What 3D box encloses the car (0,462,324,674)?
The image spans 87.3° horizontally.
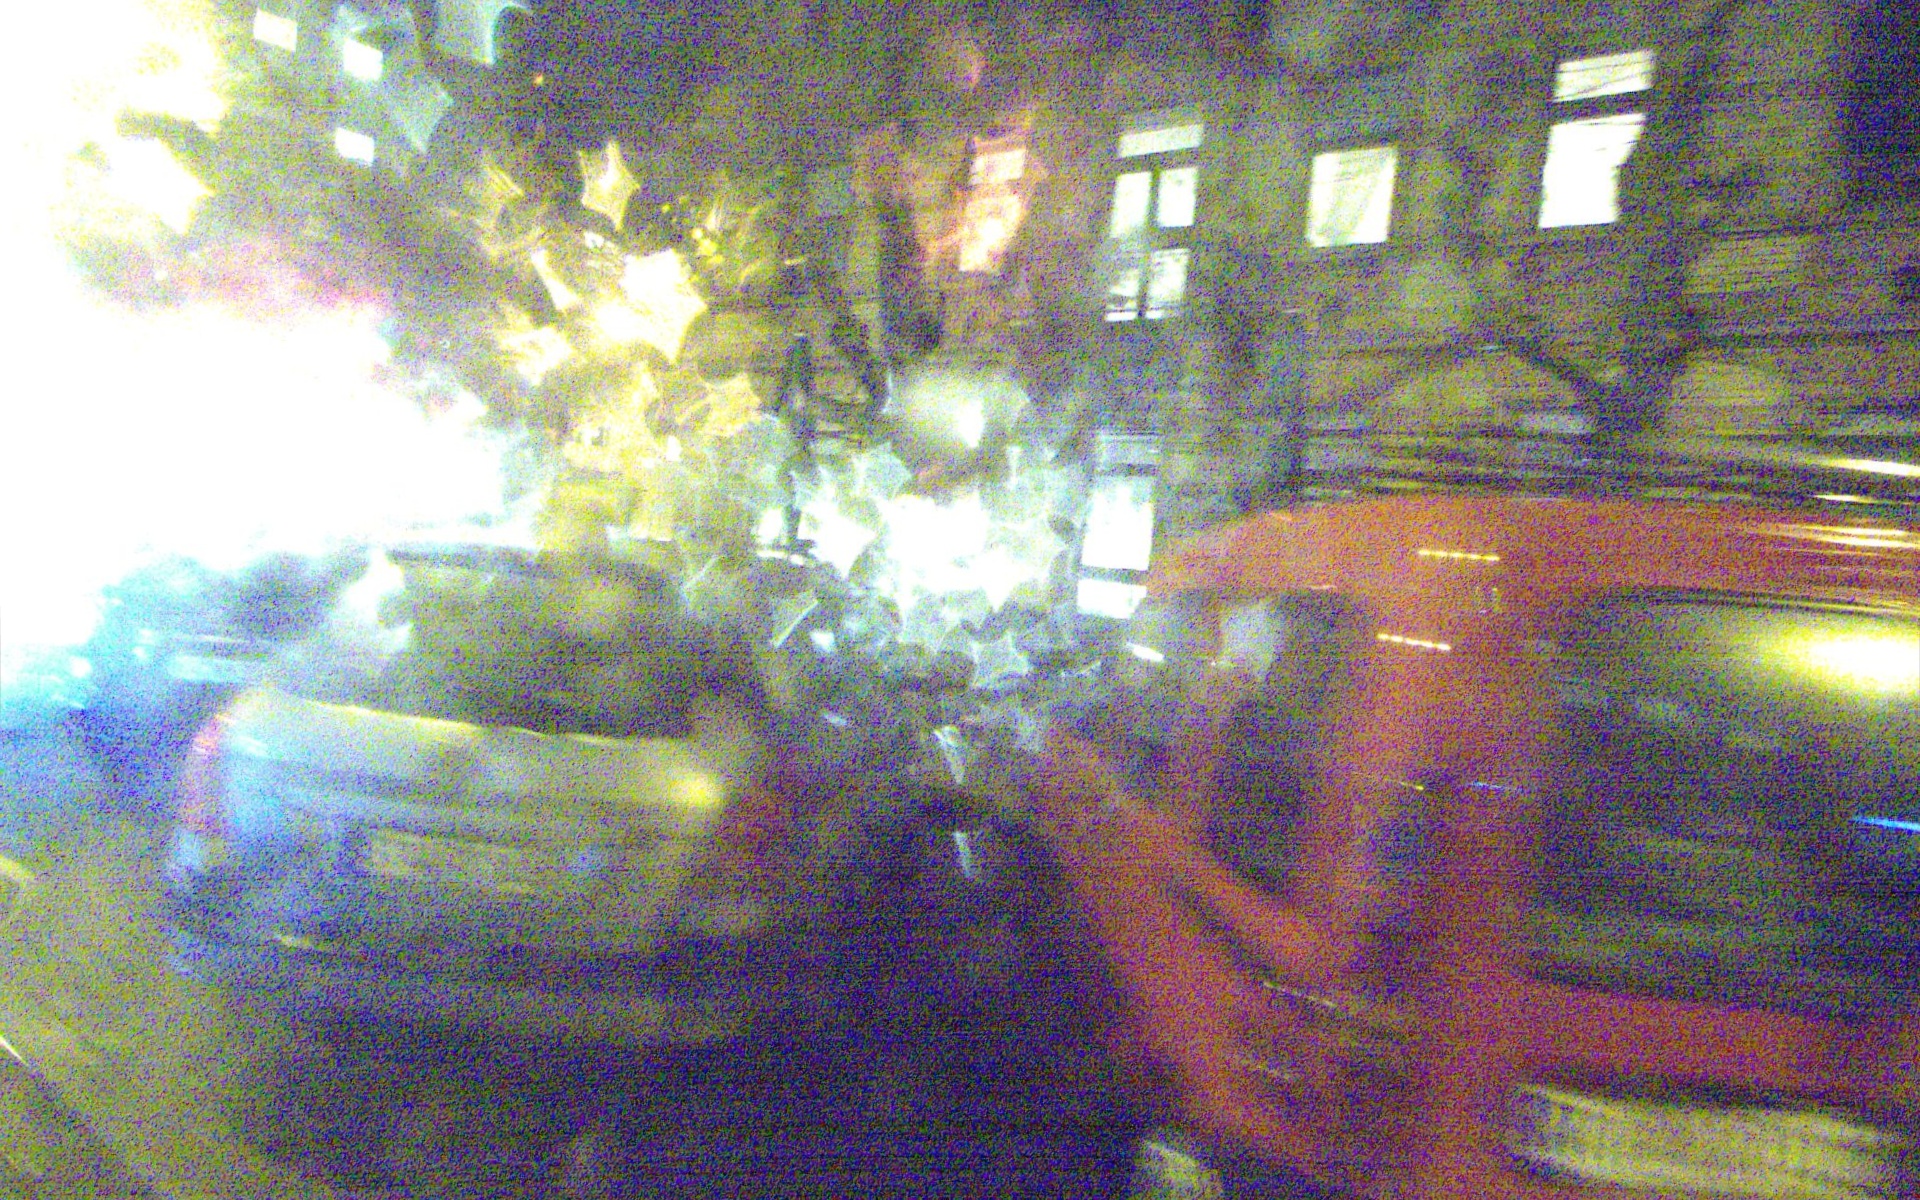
[{"bbox_3d":[-7.962,-0.346,8.841,1.738,1.594,4.260,6,2,4],"label":"car"}]

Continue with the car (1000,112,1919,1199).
[{"bbox_3d":[1.226,0.513,3.081,1.690,2.055,3.735,6,2,-3],"label":"car"}]

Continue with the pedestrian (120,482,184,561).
[{"bbox_3d":[-20.582,-1.974,25.649,0.867,1.856,0.978,6,1,-22],"label":"pedestrian"}]

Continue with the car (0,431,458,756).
[{"bbox_3d":[-5.527,-0.130,7.455,1.739,1.735,3.735,6,2,-2],"label":"car"}]

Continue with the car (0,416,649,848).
[{"bbox_3d":[-3.406,0.106,6.324,1.716,1.735,3.789,6,2,-2],"label":"car"}]

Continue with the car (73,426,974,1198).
[{"bbox_3d":[-1.047,0.457,4.397,1.799,1.619,4.070,6,2,4],"label":"car"}]

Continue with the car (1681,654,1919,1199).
[{"bbox_3d":[3.531,1.057,1.831,1.628,1.472,3.702,6,2,0],"label":"car"}]
